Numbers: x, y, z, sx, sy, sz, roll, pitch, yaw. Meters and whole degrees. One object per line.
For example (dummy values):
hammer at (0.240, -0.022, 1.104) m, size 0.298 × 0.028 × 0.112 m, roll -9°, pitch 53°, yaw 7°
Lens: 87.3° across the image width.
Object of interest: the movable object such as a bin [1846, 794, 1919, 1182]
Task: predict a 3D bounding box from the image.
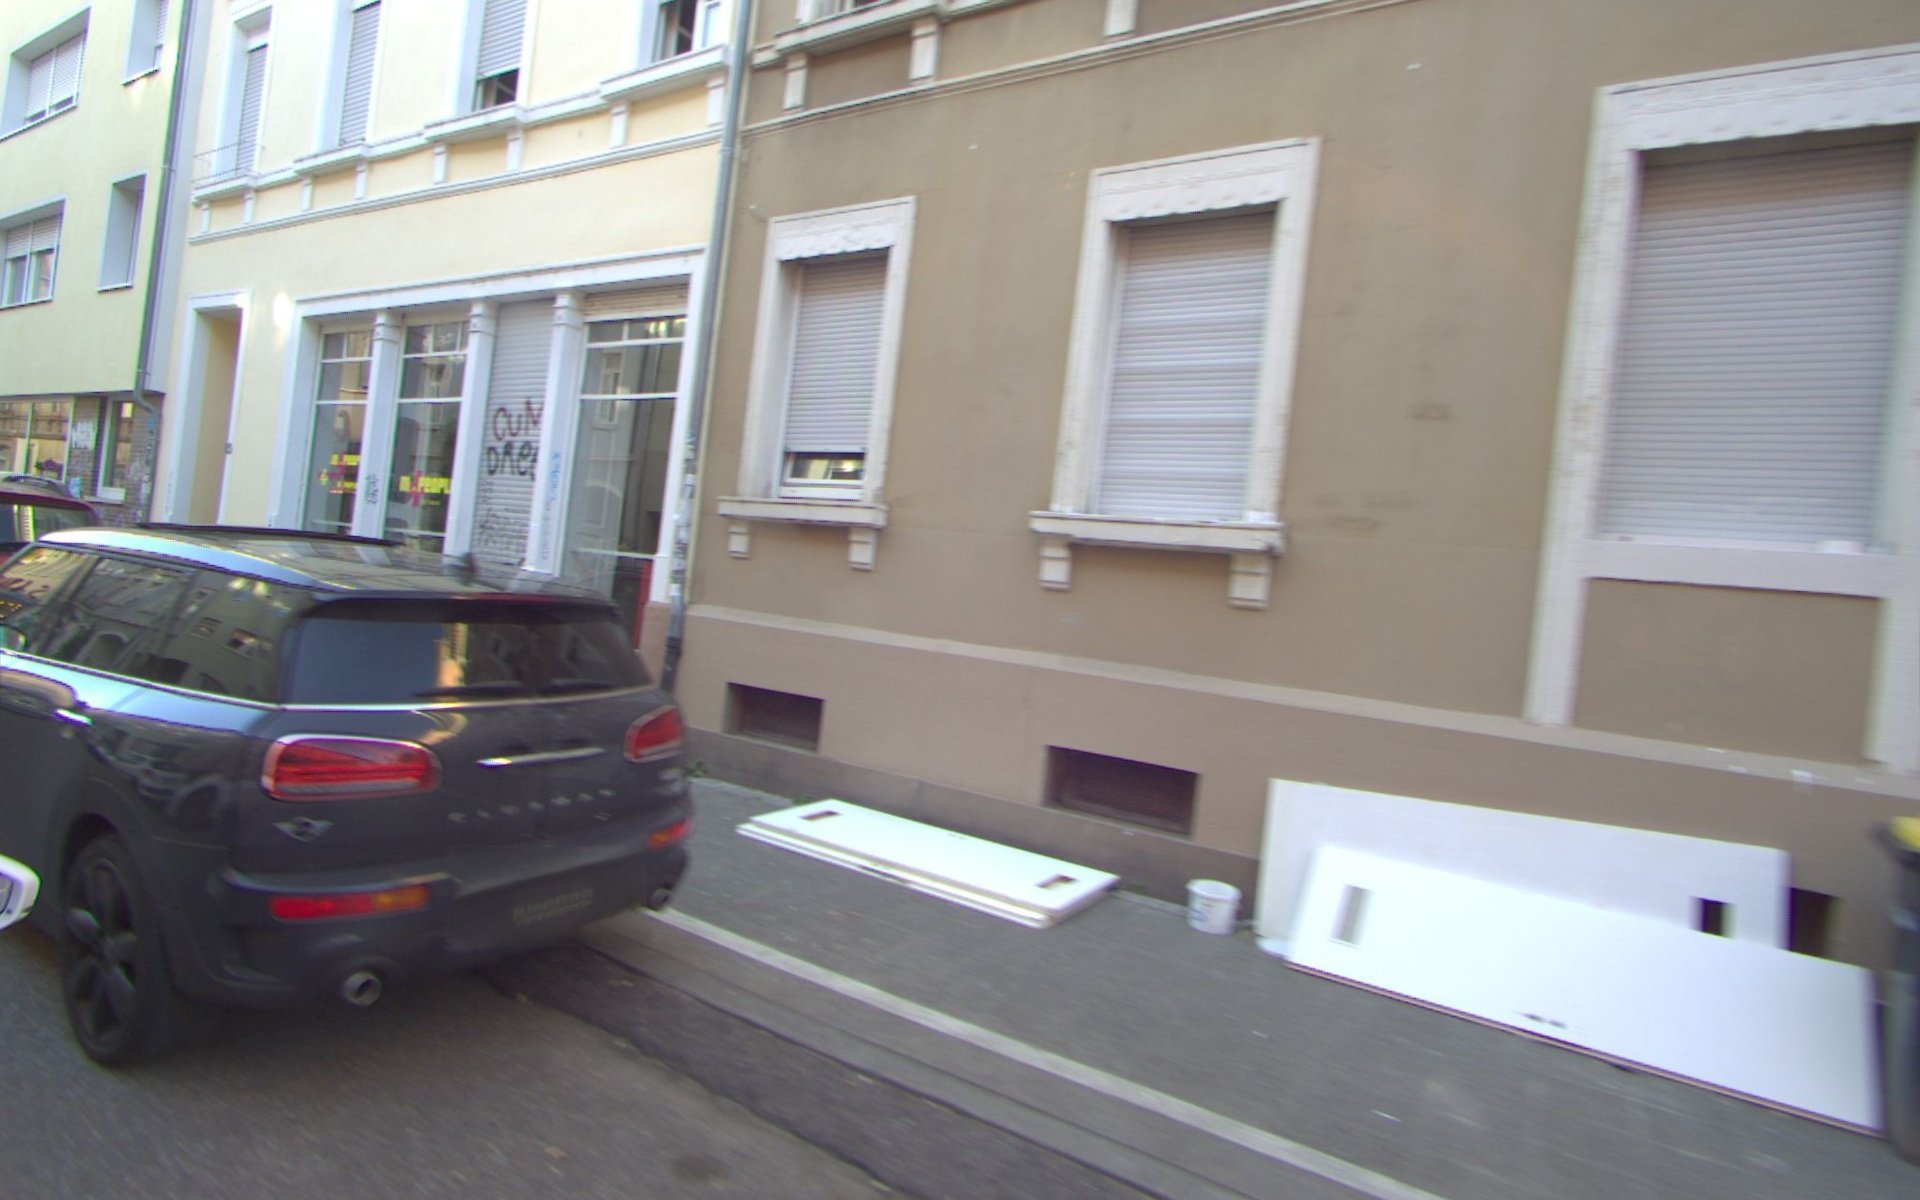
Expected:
movable object such as a bin at (3.411, 1.277, 3.242) m, size 0.667 × 1.089 × 0.806 m, roll 6°, pitch 2°, yaw 37°

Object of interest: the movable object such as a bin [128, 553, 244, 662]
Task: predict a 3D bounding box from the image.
movable object such as a bin at (-8.347, 0.087, 10.861) m, size 0.667 × 1.089 × 0.806 m, roll 6°, pitch 2°, yaw 37°

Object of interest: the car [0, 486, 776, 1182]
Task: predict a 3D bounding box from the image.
car at (-2.889, 0.426, 4.080) m, size 3.934 × 1.541 × 1.817 m, roll 6°, pitch 1°, yaw 32°

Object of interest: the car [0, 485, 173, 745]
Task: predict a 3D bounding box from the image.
car at (-7.483, -0.072, 7.126) m, size 3.934 × 1.576 × 1.711 m, roll 6°, pitch 1°, yaw 32°
